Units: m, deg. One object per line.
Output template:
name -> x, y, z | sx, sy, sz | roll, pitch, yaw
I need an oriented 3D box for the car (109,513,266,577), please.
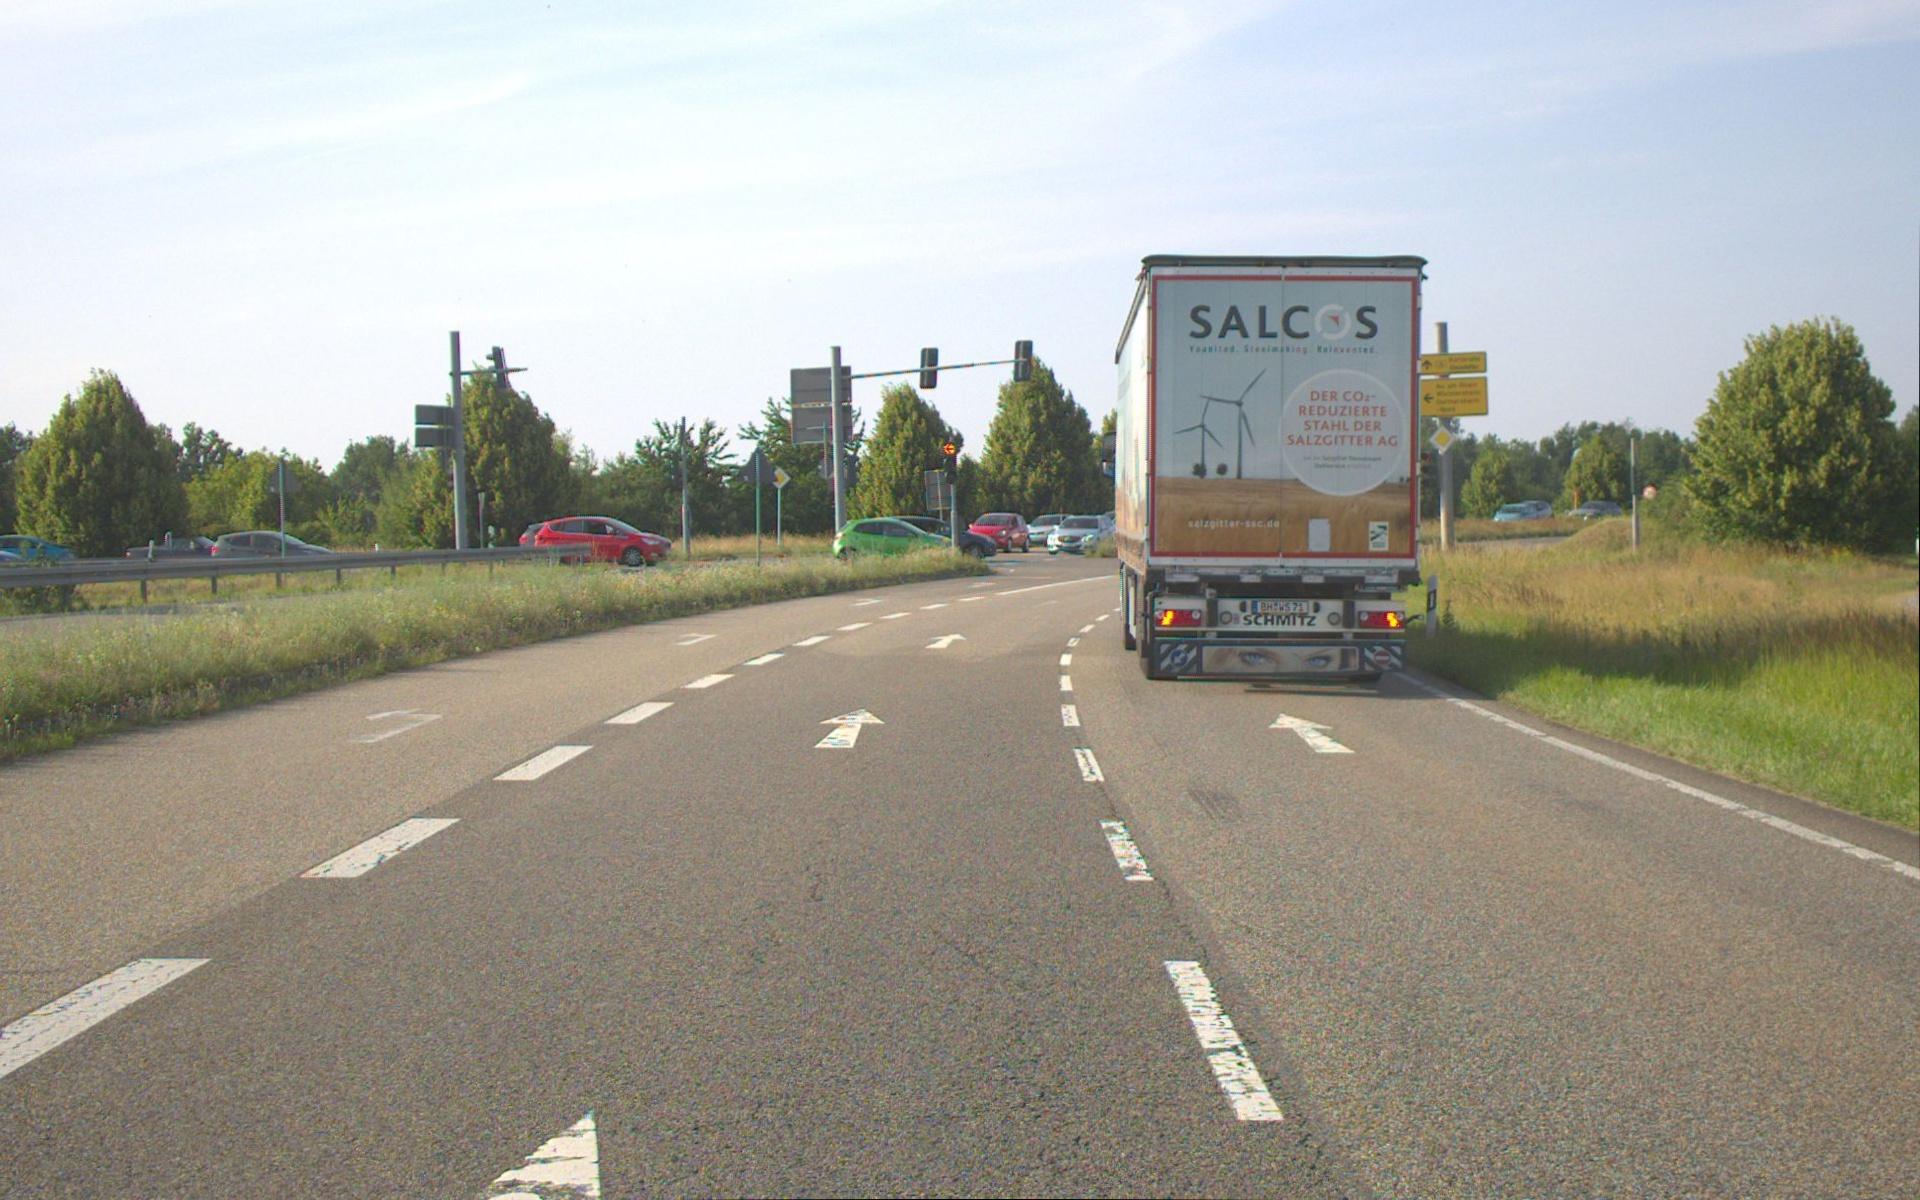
car -> -24.710, -1.754, 109.993 | 4.460, 2.007, 1.999 | 1, 0, 11

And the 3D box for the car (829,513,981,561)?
car -> -1.679, -1.946, 105.923 | 4.423, 1.412, 1.920 | 1, 0, 9

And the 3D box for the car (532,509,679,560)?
car -> -11.143, -2.054, 108.250 | 4.265, 1.559, 1.901 | 1, 0, 9

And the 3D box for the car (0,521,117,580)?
car -> -32.114, -1.743, 121.154 | 4.457, 2.007, 2.000 | 1, 0, -7

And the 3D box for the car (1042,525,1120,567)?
car -> 4.498, -2.001, 127.144 | 1.787, 1.483, 4.648 | 0, 1, 16

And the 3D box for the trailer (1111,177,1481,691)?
trailer -> 3.351, -1.709, 37.962 | 3.281, 4.665, 13.147 | 1, 2, 2

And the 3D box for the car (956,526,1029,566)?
car -> 1.233, -2.045, 129.871 | 1.722, 1.483, 3.801 | 0, 1, 17

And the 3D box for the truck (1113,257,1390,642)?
truck -> 3.653, -1.887, 44.551 | 3.300, 4.641, 5.732 | 1, 1, 3
